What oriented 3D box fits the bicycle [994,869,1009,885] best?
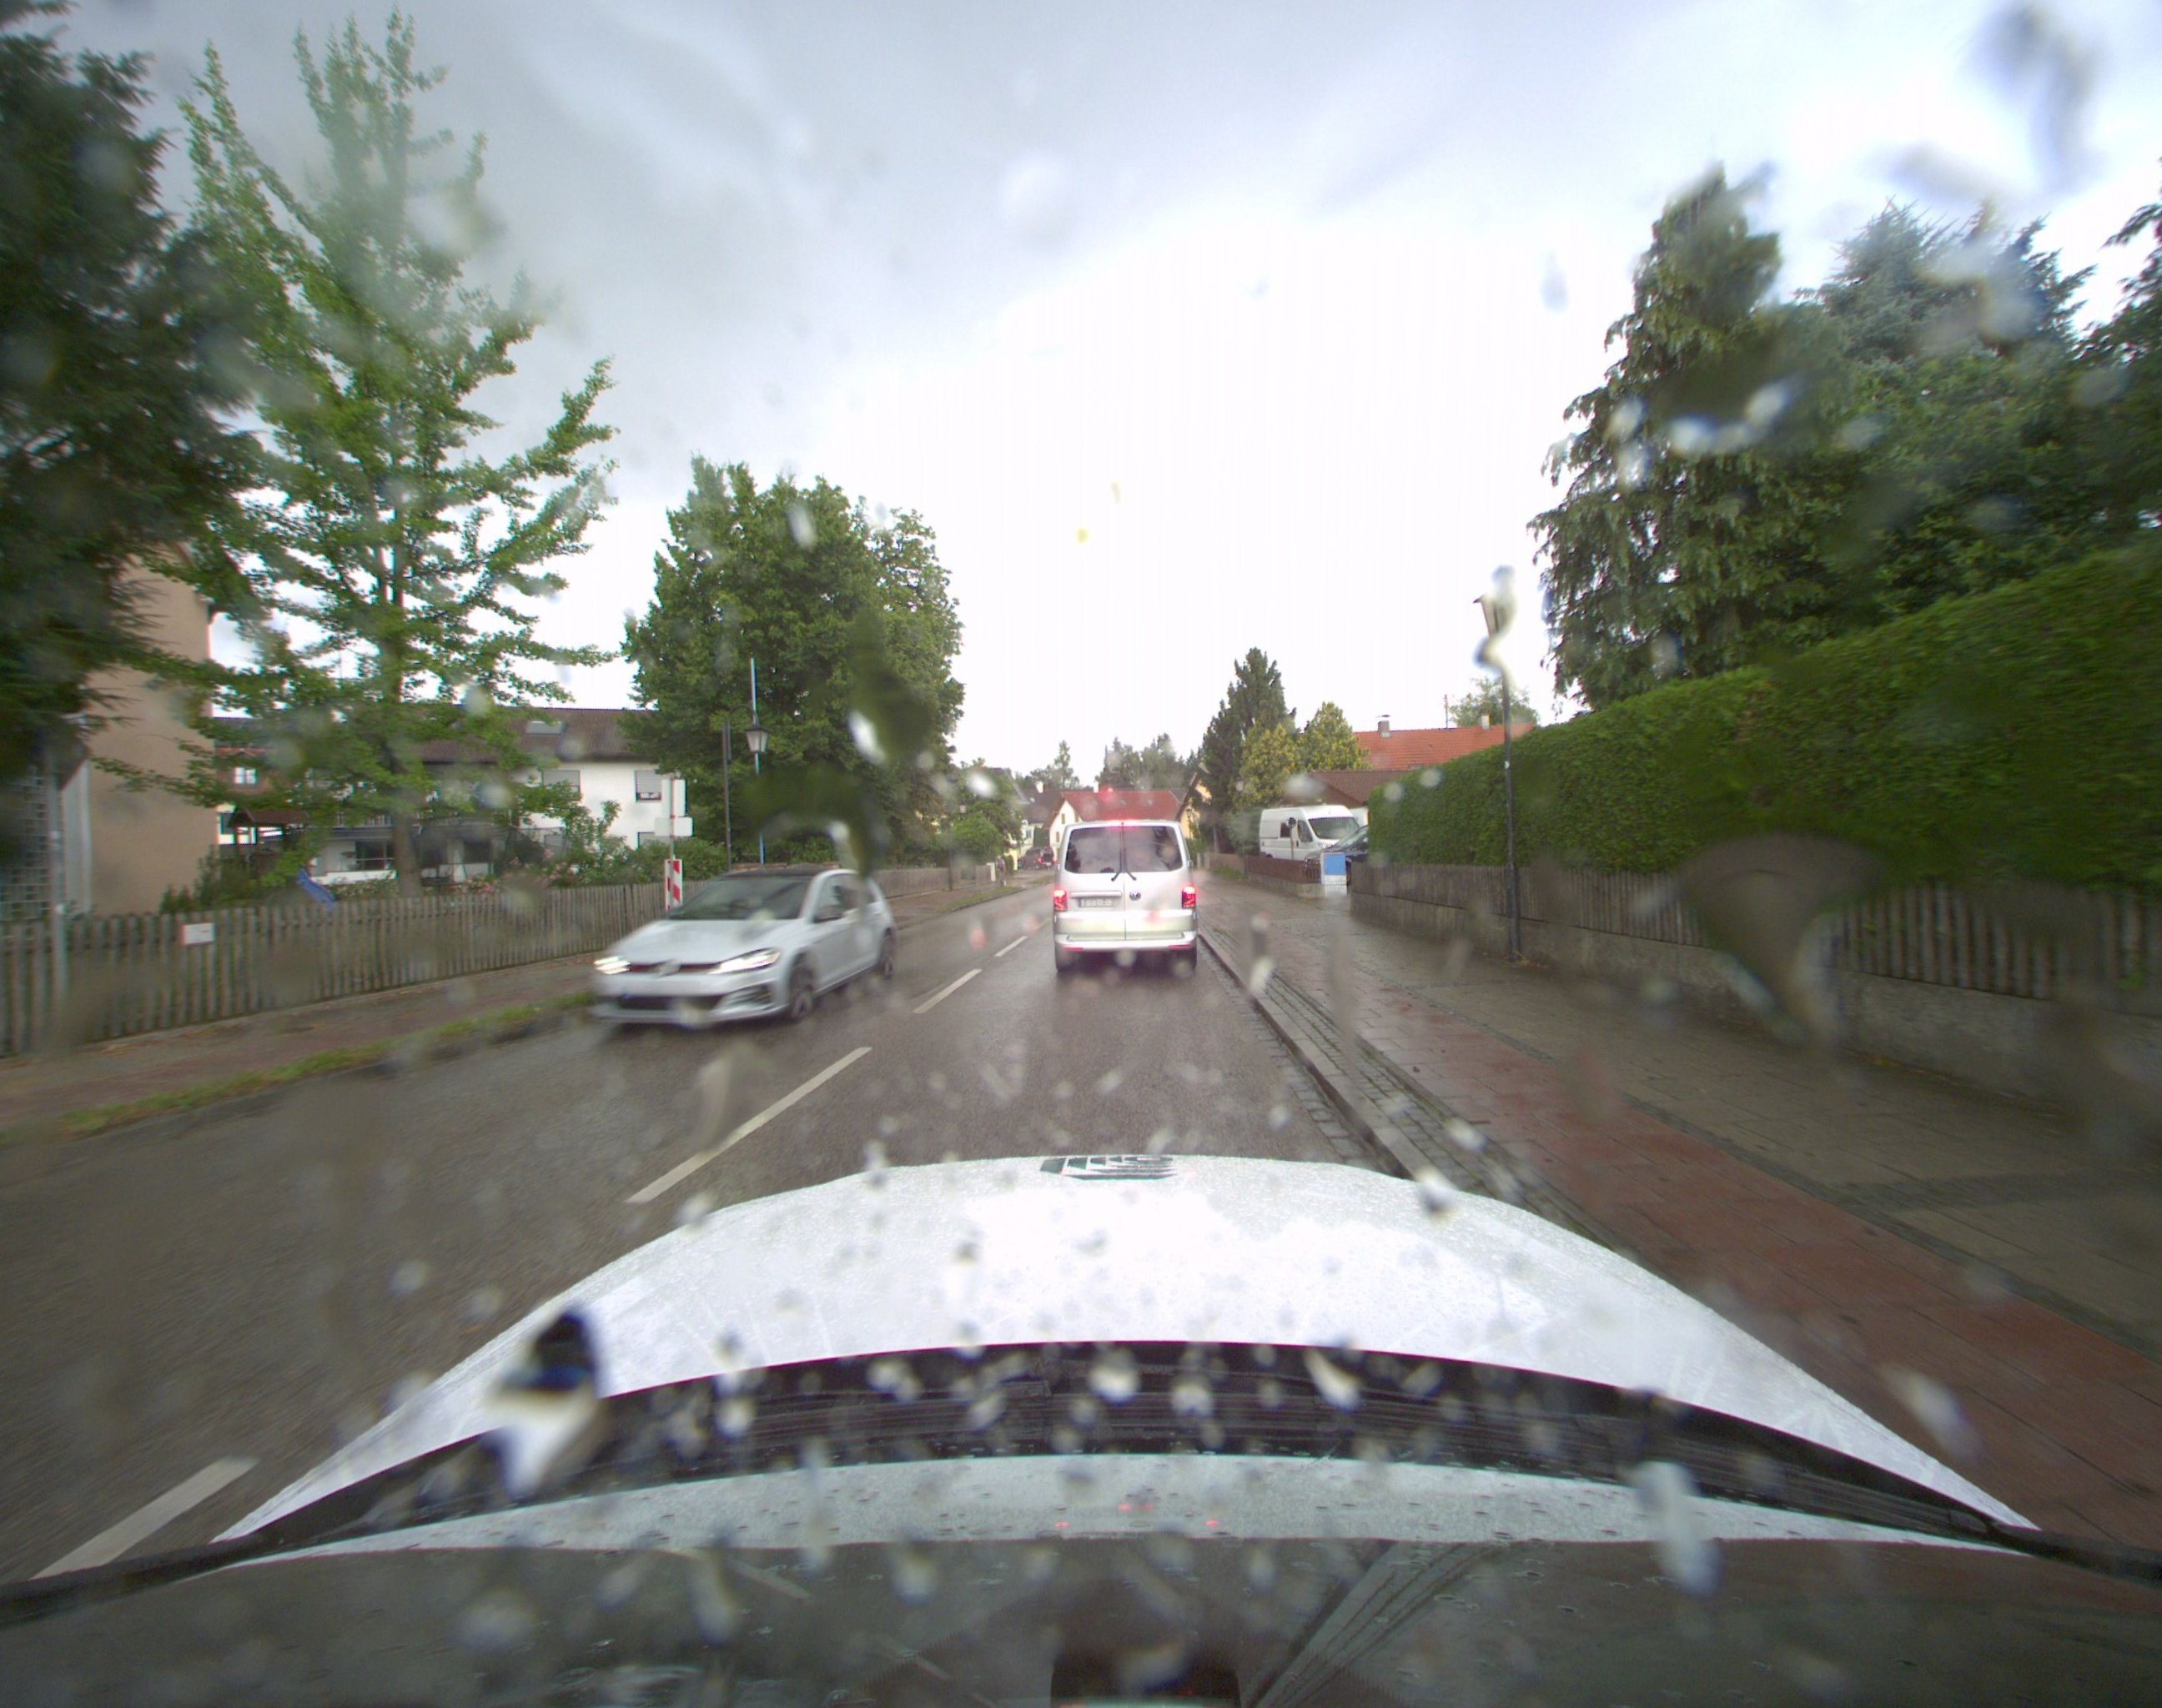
[{"bbox_3d":[-4.153,1.203,42.601,0.454,0.798,1.978,-1,0,3],"label":"bicycle"}]

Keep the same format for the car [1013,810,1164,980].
[{"bbox_3d":[0.277,0.516,11.729,1.792,2.014,4.006,0,-1,5],"label":"car"}]

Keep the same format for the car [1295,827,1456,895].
[{"bbox_3d":[8.538,0.175,23.820,4.081,1.751,1.694,-3,2,-1],"label":"car"}]

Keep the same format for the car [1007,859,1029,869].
[{"bbox_3d":[-8.468,1.403,108.752,1.788,1.310,3.745,0,-1,-24],"label":"car"}]

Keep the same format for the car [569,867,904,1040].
[{"bbox_3d":[-3.333,0.865,8.834,1.709,1.442,4.004,0,-1,4],"label":"car"}]

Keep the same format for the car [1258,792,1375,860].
[{"bbox_3d":[8.209,-0.881,28.920,1.994,2.173,4.935,0,-1,-10],"label":"car"}]

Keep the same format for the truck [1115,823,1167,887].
[{"bbox_3d":[3.055,0.104,42.252,2.465,3.074,6.300,0,-1,3],"label":"truck"}]

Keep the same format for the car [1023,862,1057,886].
[{"bbox_3d":[-2.541,1.236,51.177,1.610,1.444,3.675,-1,-1,5],"label":"car"}]

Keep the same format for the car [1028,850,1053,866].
[{"bbox_3d":[-4.874,0.479,98.160,2.000,1.927,3.973,0,-1,-20],"label":"car"}]

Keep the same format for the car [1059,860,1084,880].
[{"bbox_3d":[-0.858,1.360,69.786,1.824,1.558,4.171,-2,-1,-4],"label":"car"}]

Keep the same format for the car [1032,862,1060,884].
[{"bbox_3d":[-2.393,1.307,56.543,1.611,1.444,3.672,-1,-1,2],"label":"car"}]

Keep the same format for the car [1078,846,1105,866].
[{"bbox_3d":[1.007,0.230,81.871,1.995,2.014,3.984,0,-1,-11],"label":"car"}]

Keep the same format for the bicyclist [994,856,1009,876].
[{"bbox_3d":[-4.152,0.617,42.622,0.585,1.021,1.061,-1,0,2],"label":"bicyclist"}]
